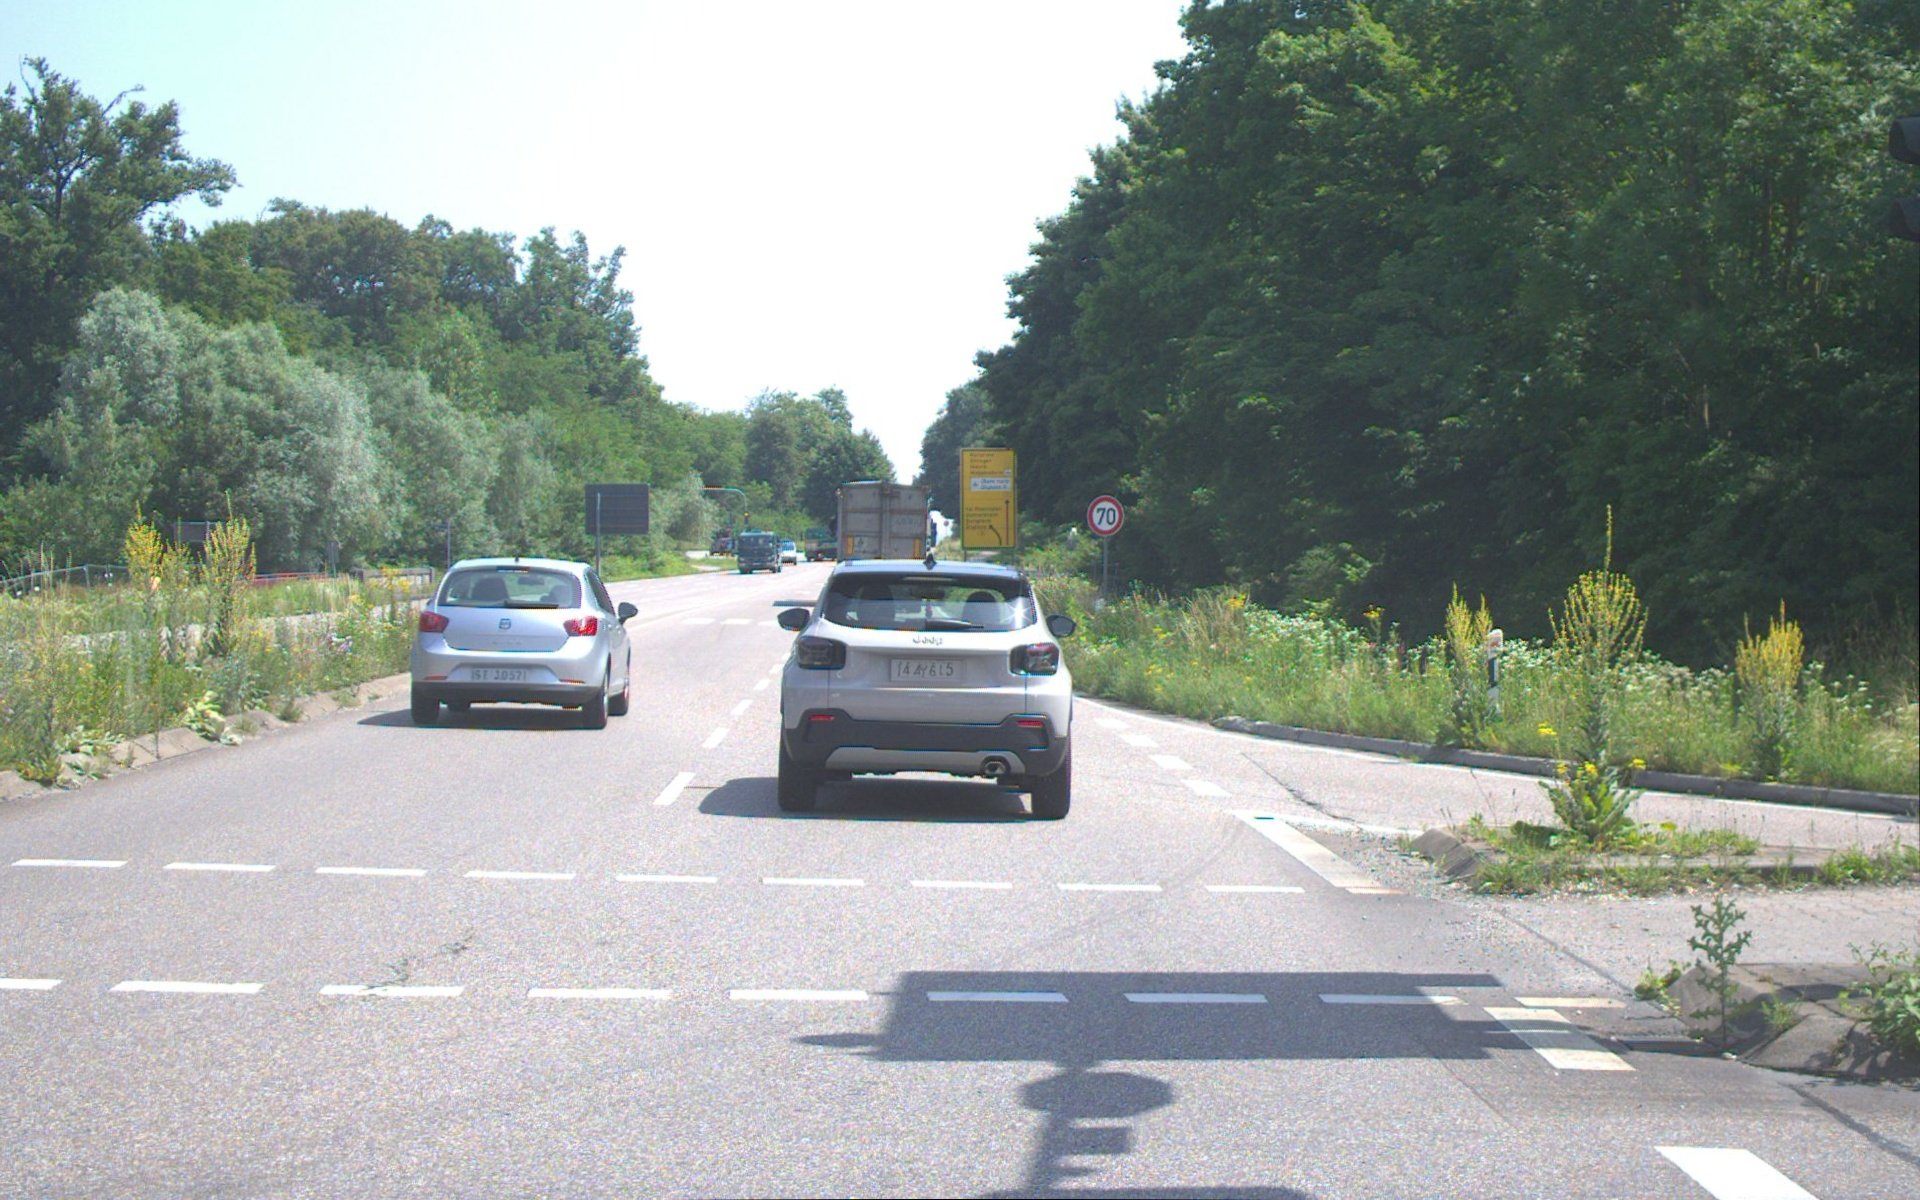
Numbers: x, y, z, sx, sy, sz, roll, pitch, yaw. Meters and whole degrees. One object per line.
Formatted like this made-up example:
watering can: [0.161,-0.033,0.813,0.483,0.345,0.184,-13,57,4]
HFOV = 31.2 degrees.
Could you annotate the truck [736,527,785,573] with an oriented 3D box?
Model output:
truck: [-12.138,-3.070,209.554,2.454,2.647,6.491,-3,1,0]

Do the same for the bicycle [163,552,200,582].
bicycle: [-25.978,-1.106,114.729,0.604,1.002,1.555,-1,0,11]

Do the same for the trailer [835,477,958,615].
trailer: [-1.877,-1.631,106.279,3.383,3.975,10.804,1,0,1]

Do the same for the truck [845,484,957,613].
truck: [-1.860,-1.636,111.183,3.333,3.975,6.533,1,0,1]

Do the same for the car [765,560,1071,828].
car: [-0.240,0.522,22.009,1.767,1.529,4.000,1,1,0]

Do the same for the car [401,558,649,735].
car: [-3.775,0.361,30.393,1.666,1.425,3.828,1,1,0]
